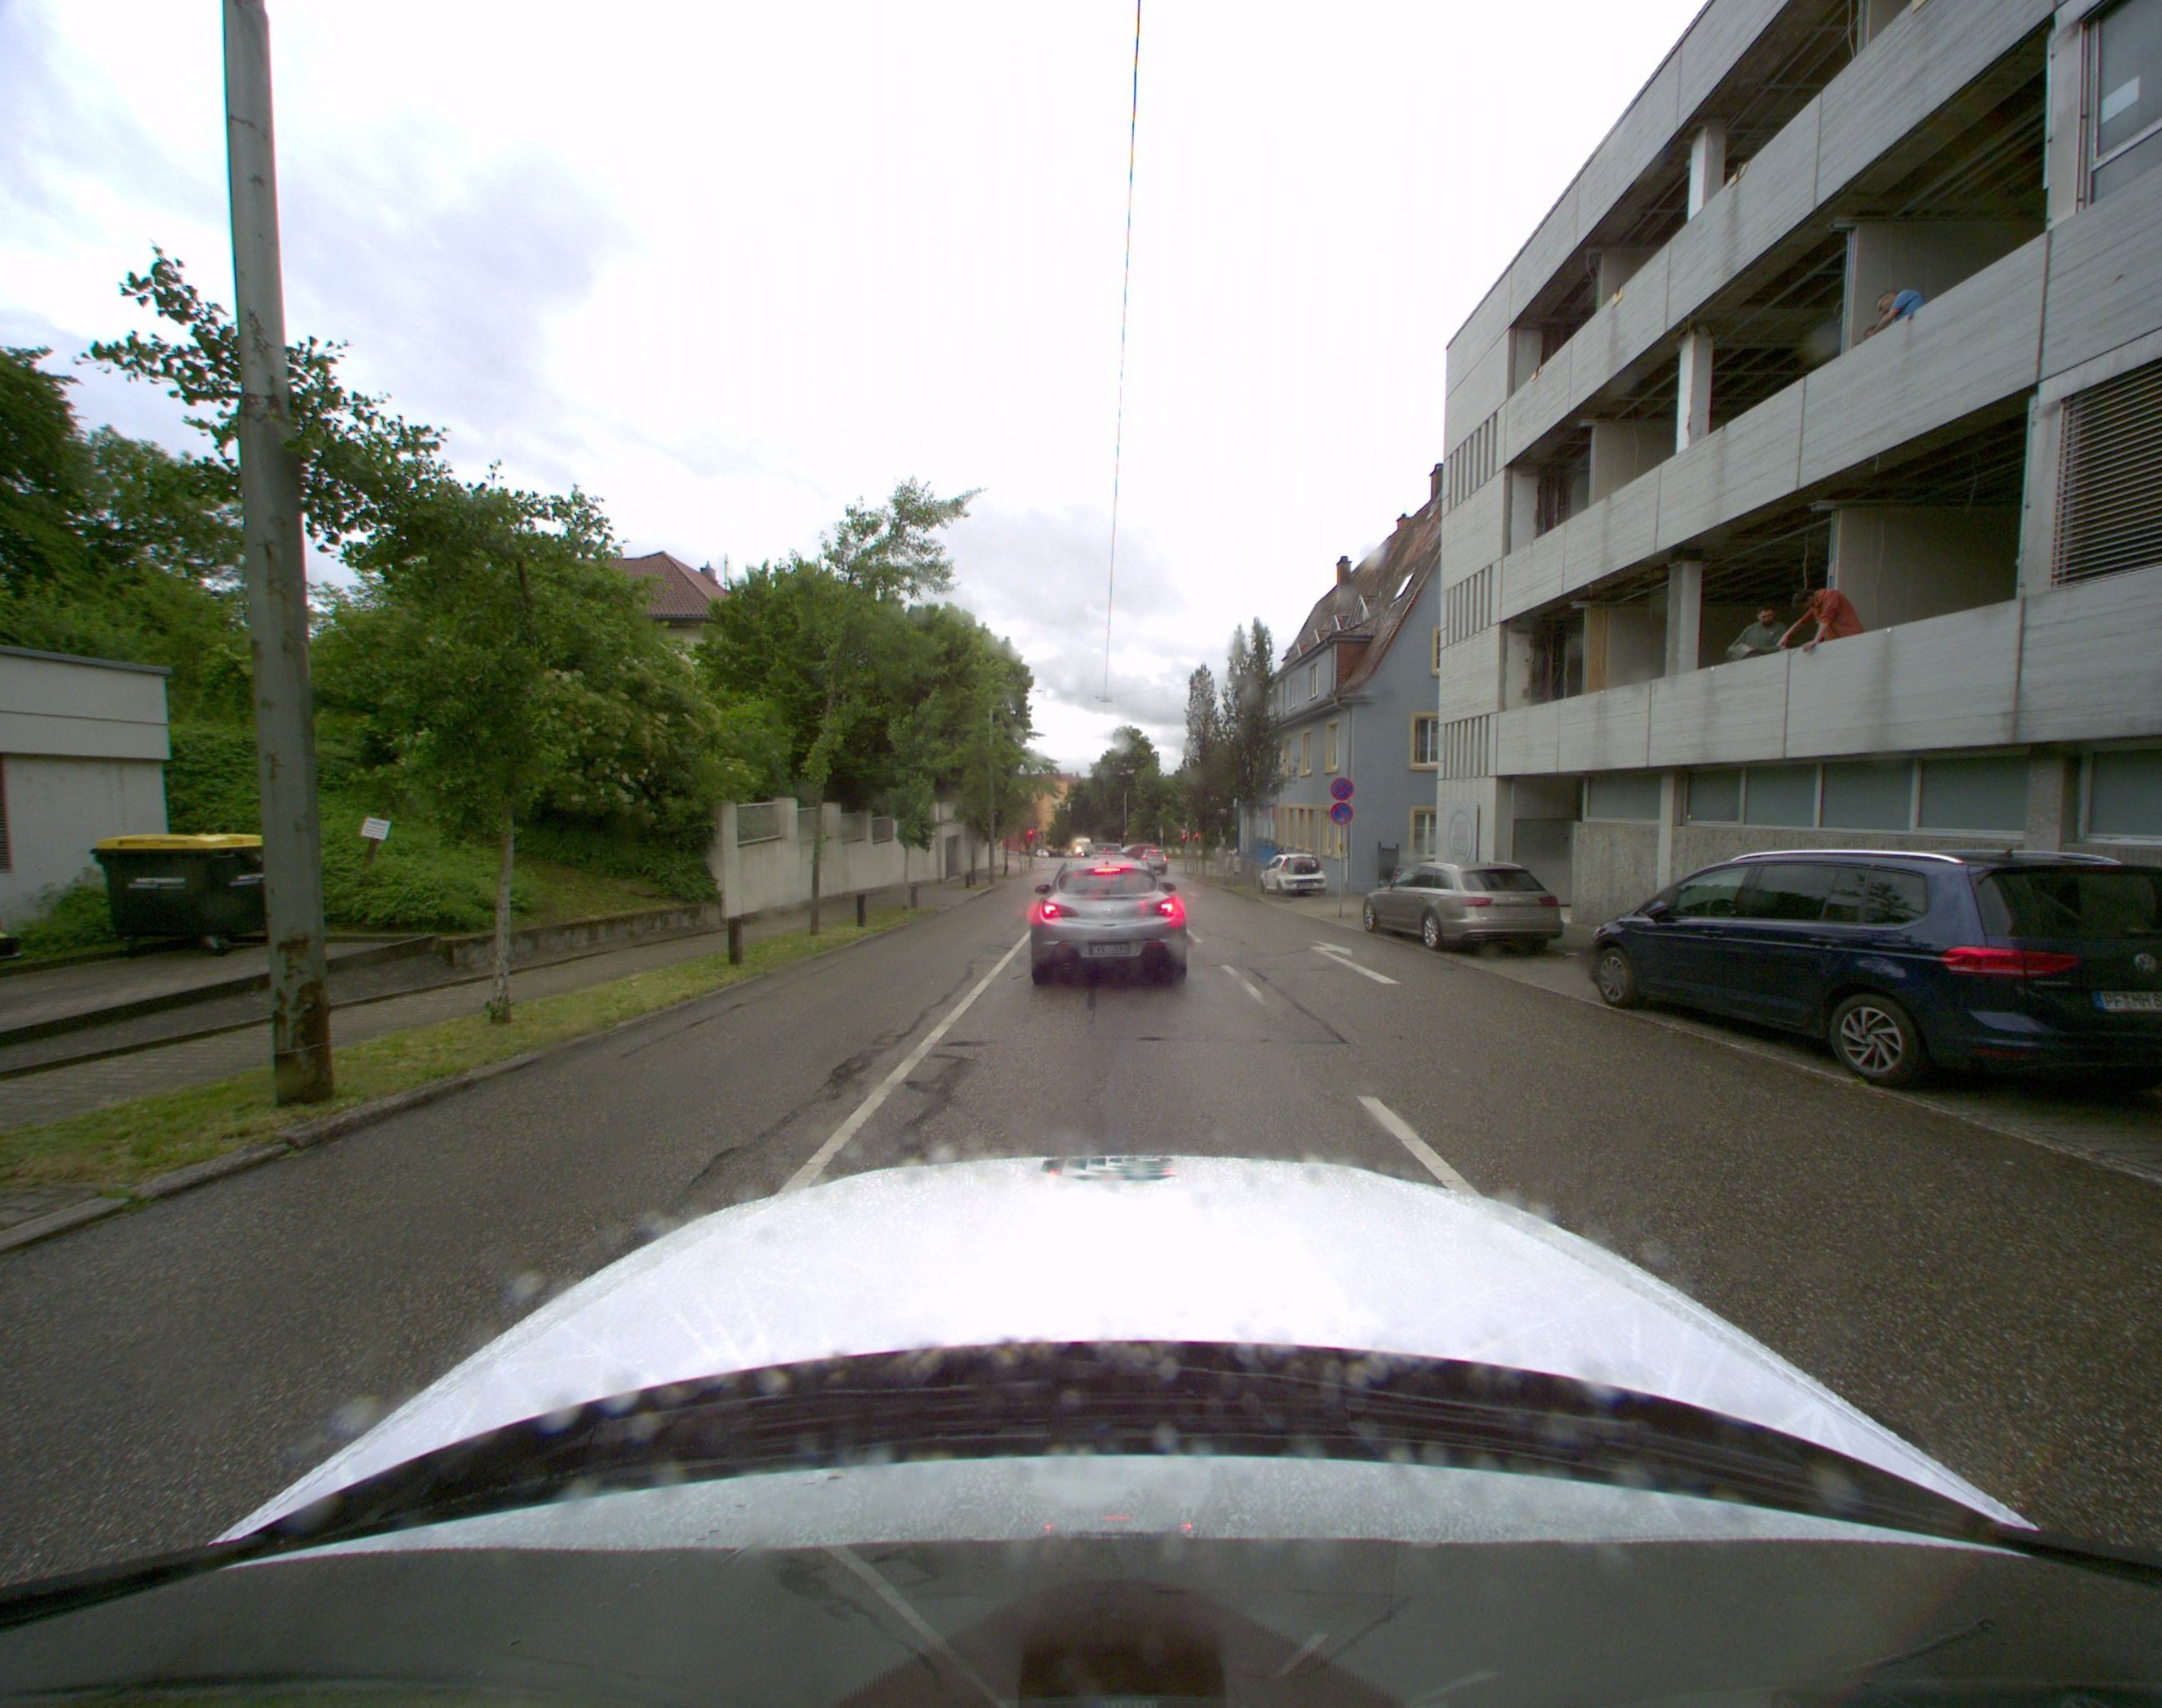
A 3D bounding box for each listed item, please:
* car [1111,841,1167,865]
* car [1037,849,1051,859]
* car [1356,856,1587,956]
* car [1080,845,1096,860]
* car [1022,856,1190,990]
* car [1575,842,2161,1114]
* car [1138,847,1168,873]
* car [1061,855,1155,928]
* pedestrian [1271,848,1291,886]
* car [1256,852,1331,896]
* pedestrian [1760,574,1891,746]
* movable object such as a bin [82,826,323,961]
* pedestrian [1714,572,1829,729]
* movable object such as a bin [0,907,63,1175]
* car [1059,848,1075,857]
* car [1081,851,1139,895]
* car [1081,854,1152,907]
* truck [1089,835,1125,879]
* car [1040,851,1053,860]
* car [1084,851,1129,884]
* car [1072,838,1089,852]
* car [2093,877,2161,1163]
[{"bbox_3d":[4.942,-0.090,68.970,4.469,1.828,1.736,-2,-1,-28],"label":"car"},{"bbox_3d":[-5.394,0.022,118.791,1.717,1.460,3.880,-1,0,1],"label":"car"},{"bbox_3d":[6.645,0.790,14.516,1.956,1.448,4.526,0,0,0],"label":"car"},{"bbox_3d":[0.818,-0.149,93.515,1.864,1.638,3.880,-1,0,1],"label":"car"},{"bbox_3d":[0.274,0.752,10.807,1.831,1.434,3.879,0,0,0],"label":"car"},{"bbox_3d":[6.314,0.725,6.910,1.723,1.599,4.160,-1,0,0],"label":"car"},{"bbox_3d":[4.893,0.413,55.902,1.717,1.714,3.879,-1,0,0],"label":"car"},{"bbox_3d":[0.596,0.785,19.182,1.955,1.448,4.305,1,0,1],"label":"car"},{"bbox_3d":[9.313,0.605,37.966,0.780,1.729,0.651,1,0,1],"label":"pedestrian"},{"bbox_3d":[7.573,0.657,29.386,1.717,1.448,3.880,-1,0,1],"label":"car"},{"bbox_3d":[9.555,-2.457,10.492,0.904,2.014,0.861,0,-1,1],"label":"pedestrian"},{"bbox_3d":[-10.011,0.414,9.378,1.296,1.363,1.225,0,6,-5],"label":"movable object such as a bin"},{"bbox_3d":[9.760,-2.851,11.548,0.904,2.014,0.861,0,-1,1],"label":"pedestrian"},{"bbox_3d":[-5.965,0.937,3.651,1.296,1.306,1.153,0,1,-6],"label":"movable object such as a bin"},{"bbox_3d":[-2.463,-0.192,140.360,1.726,1.543,3.859,-1,0,-16],"label":"car"},{"bbox_3d":[1.029,0.650,30.282,1.955,1.448,4.305,1,0,1],"label":"car"},{"bbox_3d":[1.028,0.740,24.897,1.955,1.448,4.305,1,0,1],"label":"car"},{"bbox_3d":[1.497,0.166,47.947,1.955,2.429,4.936,1,0,1],"label":"truck"},{"bbox_3d":[-6.829,0.246,159.240,1.726,1.638,3.859,-1,0,-16],"label":"car"},{"bbox_3d":[1.163,0.585,37.945,1.955,1.448,4.305,1,0,1],"label":"car"},{"bbox_3d":[-0.102,-1.065,101.184,1.721,1.638,3.870,-1,0,-7],"label":"car"},{"bbox_3d":[6.243,0.850,2.273,1.740,1.448,4.256,-1,0,4],"label":"car"}]
